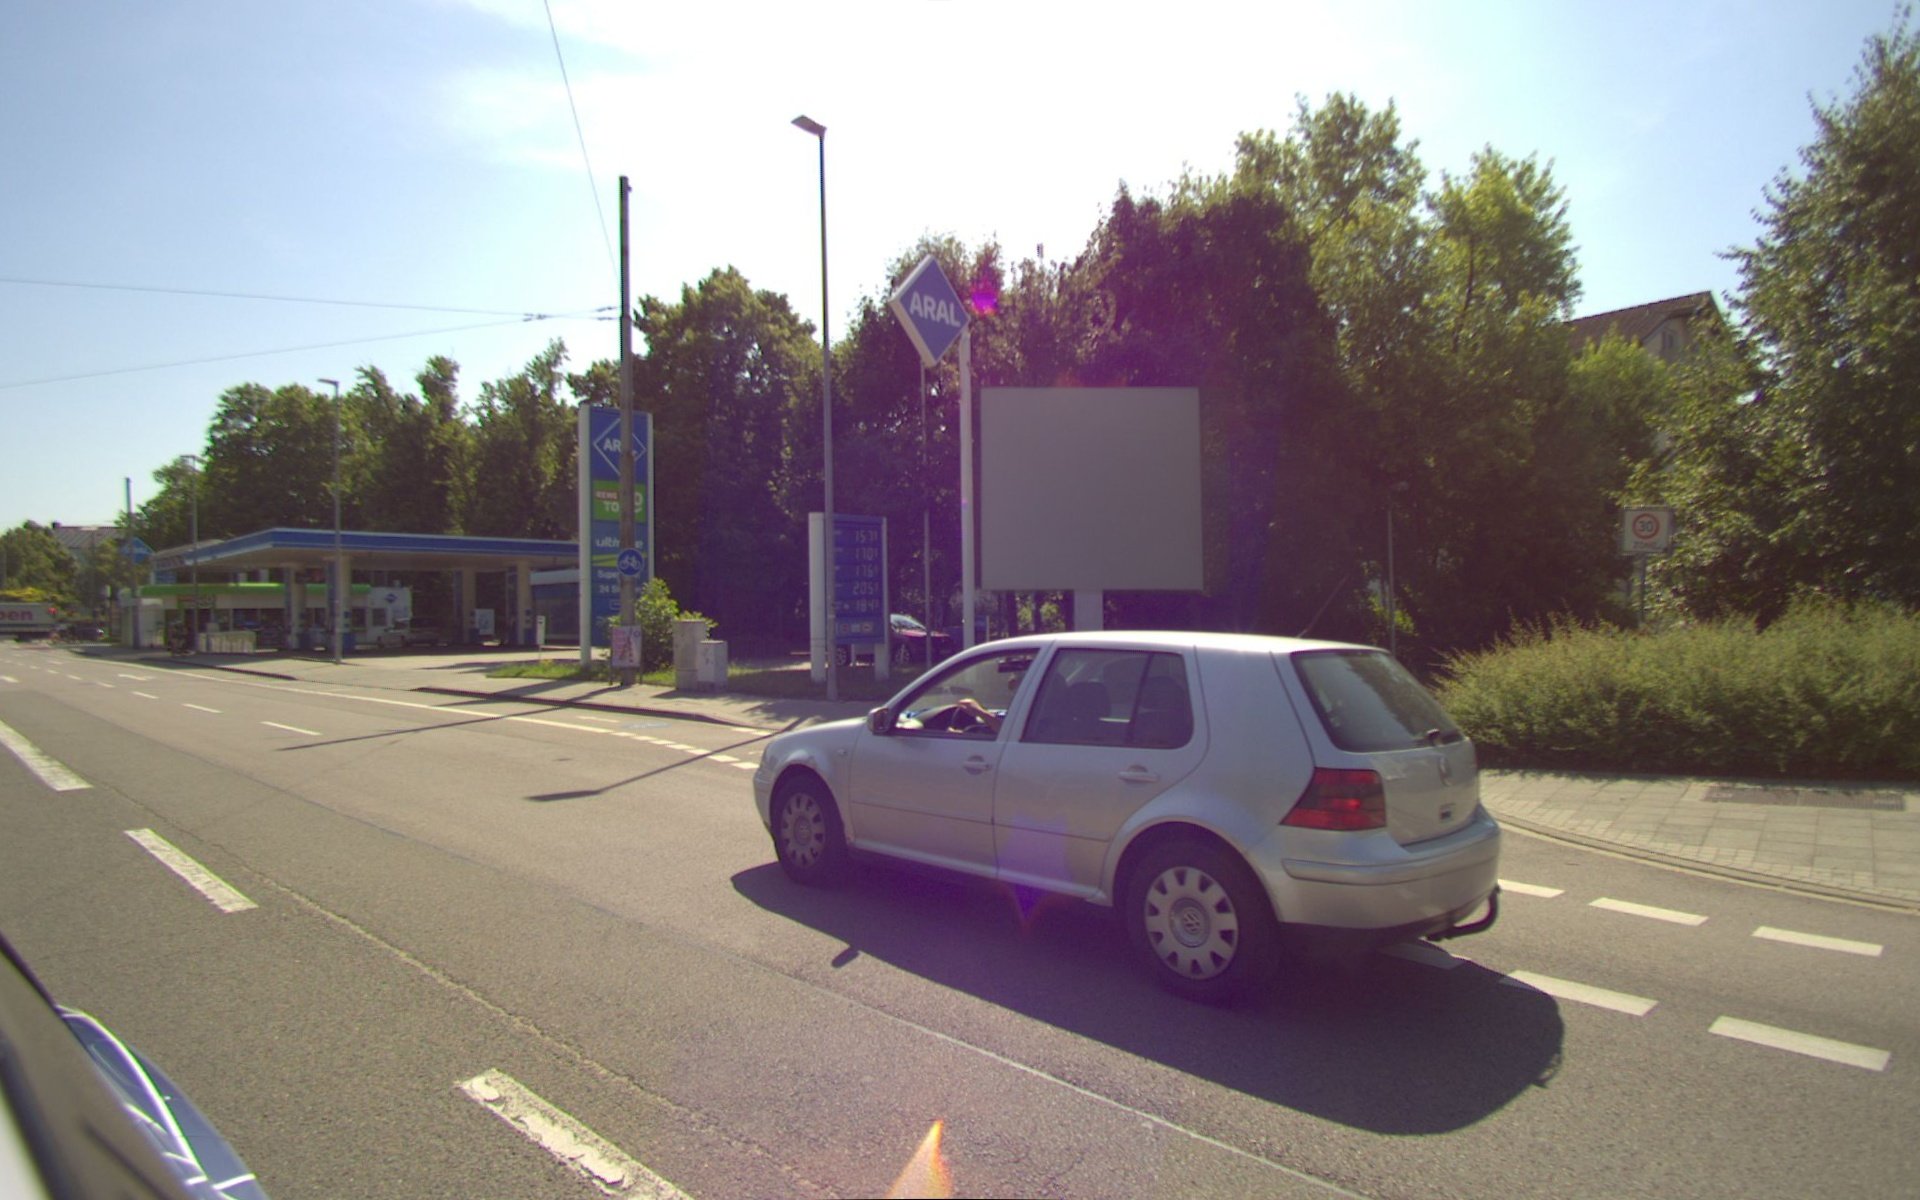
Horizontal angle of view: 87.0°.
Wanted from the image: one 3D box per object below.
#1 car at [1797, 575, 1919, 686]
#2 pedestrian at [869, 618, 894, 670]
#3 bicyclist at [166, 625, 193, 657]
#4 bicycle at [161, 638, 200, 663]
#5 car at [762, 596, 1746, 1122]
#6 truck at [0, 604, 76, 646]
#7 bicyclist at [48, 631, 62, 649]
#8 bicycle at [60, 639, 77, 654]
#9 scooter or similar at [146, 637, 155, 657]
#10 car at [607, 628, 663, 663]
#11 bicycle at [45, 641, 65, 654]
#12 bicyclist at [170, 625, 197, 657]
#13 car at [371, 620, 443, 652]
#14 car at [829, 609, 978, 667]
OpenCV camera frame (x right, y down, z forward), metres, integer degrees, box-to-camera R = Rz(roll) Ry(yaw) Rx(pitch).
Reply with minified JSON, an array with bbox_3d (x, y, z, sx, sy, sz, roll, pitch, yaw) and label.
[{"bbox_3d":[22.791,0.723,25.269,4.117,2.557,1.793,0,-2,-35],"label":"car"},{"bbox_3d":[-2.308,1.293,29.819,0.500,1.492,0.493,-2,-2,42],"label":"pedestrian"},{"bbox_3d":[-36.879,1.942,47.809,0.832,1.446,0.838,-4,-2,42],"label":"bicyclist"},{"bbox_3d":[-36.418,2.354,47.282,2.769,1.103,0.817,-2,-2,39],"label":"bicycle"},{"bbox_3d":[0.958,0.782,4.900,1.640,1.431,4.312,3,-3,-45],"label":"car"},{"bbox_3d":[-94.023,2.466,96.970,2.837,4.038,14.191,-2,-1,23],"label":"truck"},{"bbox_3d":[-76.298,3.393,85.295,0.737,1.431,0.702,-4,-2,34],"label":"bicyclist"},{"bbox_3d":[-77.020,4.015,87.402,2.211,1.184,0.927,-2,-2,44],"label":"bicycle"},{"bbox_3d":[-51.802,2.990,64.733,0.435,1.247,1.348,0,-2,-38],"label":"scooter or similar"},{"bbox_3d":[-13.887,1.911,43.135,1.774,1.356,4.257,-1,-1,-25],"label":"car"},{"bbox_3d":[-76.406,4.041,85.411,2.069,1.066,0.744,-2,-2,33],"label":"bicycle"},{"bbox_3d":[-36.224,1.904,47.211,0.832,1.447,0.838,-4,-2,41],"label":"bicyclist"},{"bbox_3d":[-32.819,2.125,59.997,5.961,1.795,1.824,-2,-2,41],"label":"car"},{"bbox_3d":[-1.768,1.174,30.377,4.516,1.582,1.780,-4,-3,42],"label":"car"}]
